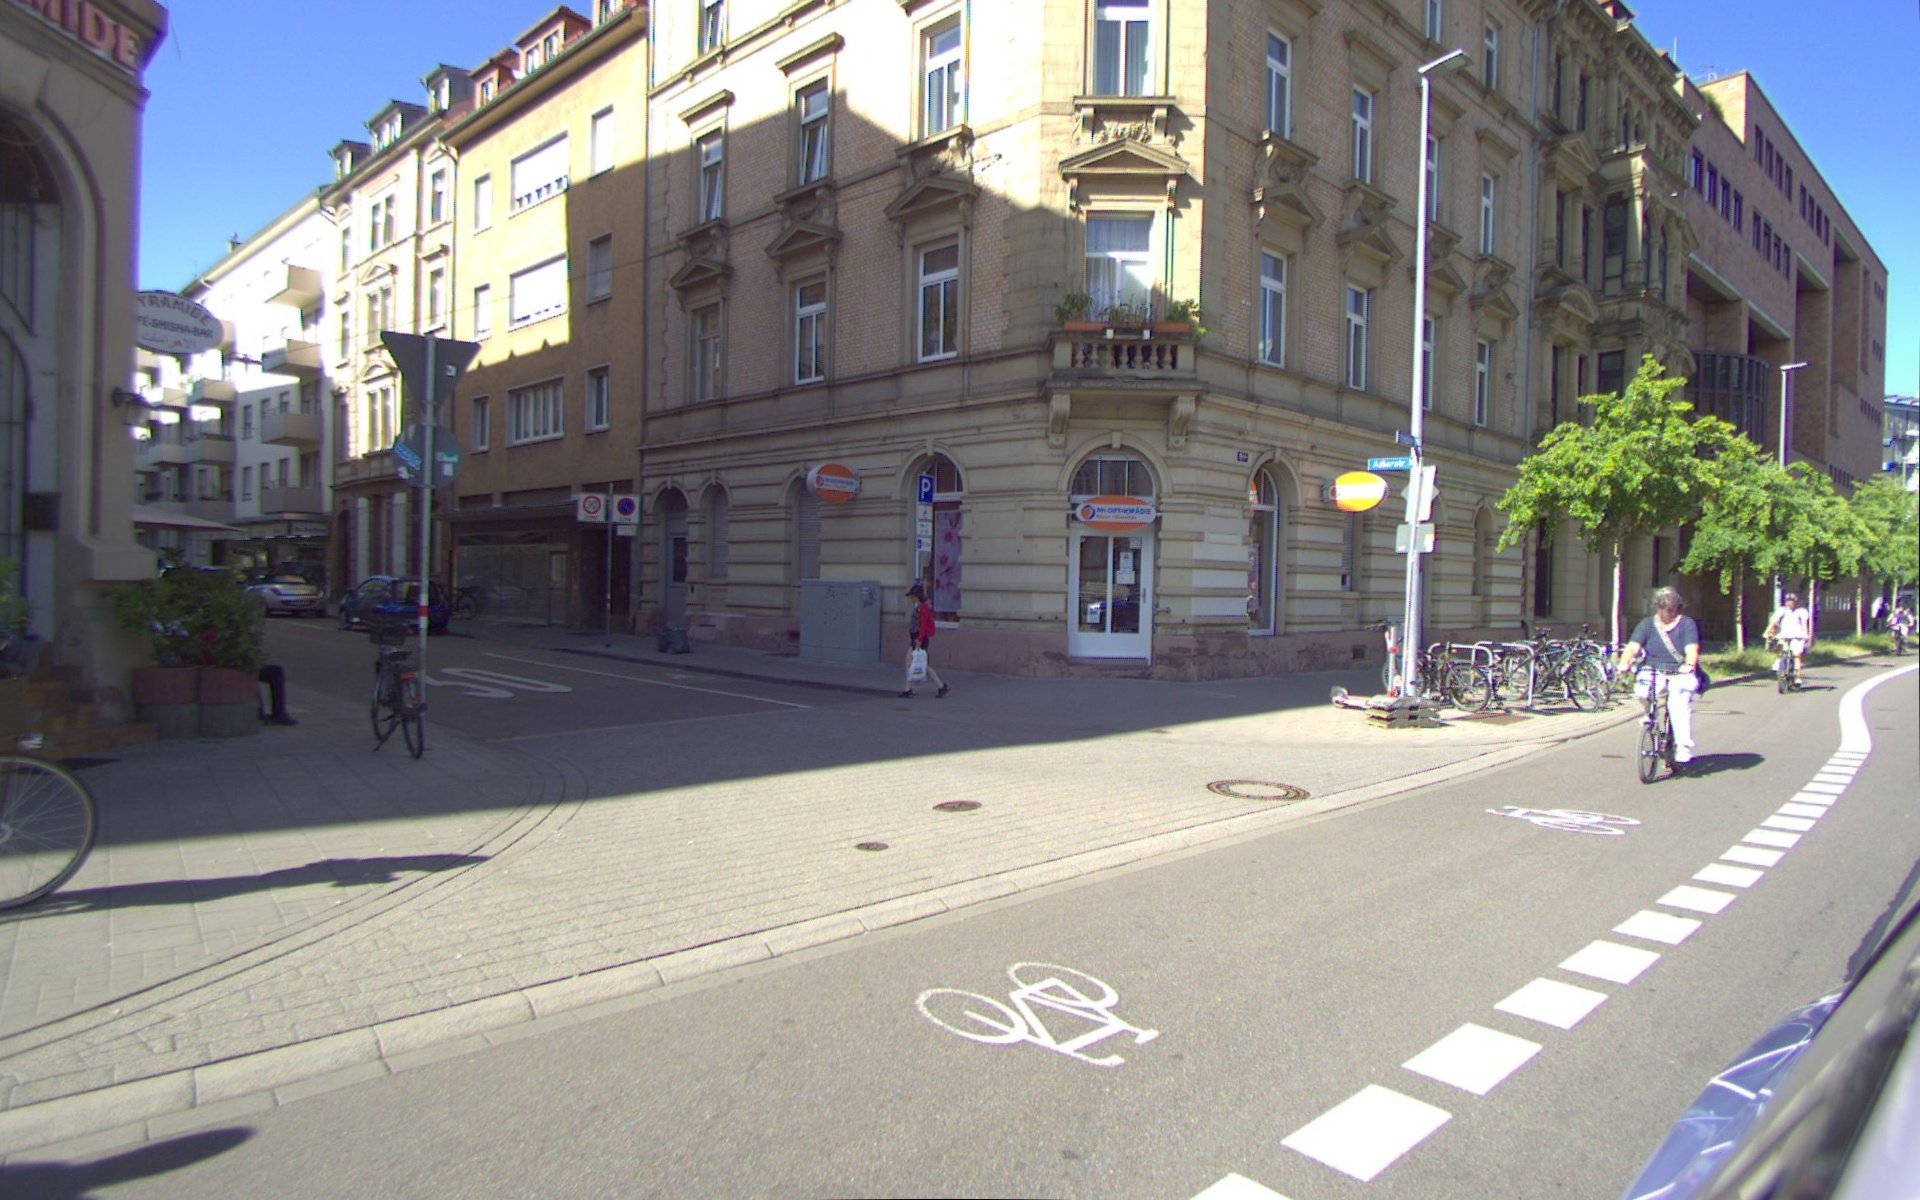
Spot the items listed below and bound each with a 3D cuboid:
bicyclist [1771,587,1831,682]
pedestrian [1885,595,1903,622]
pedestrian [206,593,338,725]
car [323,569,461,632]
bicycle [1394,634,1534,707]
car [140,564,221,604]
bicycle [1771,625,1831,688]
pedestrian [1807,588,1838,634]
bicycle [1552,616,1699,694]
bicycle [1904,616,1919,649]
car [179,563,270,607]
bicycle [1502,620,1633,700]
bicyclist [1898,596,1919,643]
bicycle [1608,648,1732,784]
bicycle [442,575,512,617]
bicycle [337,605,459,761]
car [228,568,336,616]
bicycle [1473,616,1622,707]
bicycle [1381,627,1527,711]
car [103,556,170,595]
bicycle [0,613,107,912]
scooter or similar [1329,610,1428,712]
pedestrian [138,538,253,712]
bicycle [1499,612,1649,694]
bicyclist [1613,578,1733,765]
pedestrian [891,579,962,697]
[{"bbox_3d":[15.857,0.633,19.074,0.893,1.751,0.684,1,-1,-39],"label":"bicyclist"},{"bbox_3d":[53.158,0.480,57.606,0.723,1.505,0.633,0,1,-41],"label":"pedestrian"},{"bbox_3d":[-6.826,0.548,10.047,0.849,1.229,0.920,0,0,43],"label":"pedestrian"},{"bbox_3d":[-14.623,-0.003,25.976,3.983,1.438,1.775,2,-1,40],"label":"car"},{"bbox_3d":[7.056,0.963,14.245,0.595,0.831,1.677,1,2,-33],"label":"bicycle"},{"bbox_3d":[-30.105,-0.646,39.060,3.757,1.450,1.776,2,1,40],"label":"car"},{"bbox_3d":[15.872,1.048,19.091,1.480,1.110,0.578,0,-1,-39],"label":"bicycle"},{"bbox_3d":[36.352,0.445,42.648,1.087,1.906,0.789,0,1,-41],"label":"pedestrian"},{"bbox_3d":[11.515,0.914,17.558,1.993,1.106,0.835,5,3,40],"label":"bicycle"},{"bbox_3d":[33.327,1.121,35.126,1.480,1.110,0.578,0,-1,-38],"label":"bicycle"},{"bbox_3d":[-26.030,-0.545,35.771,3.757,1.450,1.776,2,1,40],"label":"car"},{"bbox_3d":[9.533,0.916,15.928,0.595,1.058,1.605,1,3,-37],"label":"bicycle"},{"bbox_3d":[33.206,0.678,35.159,0.748,1.637,0.755,1,-1,-38],"label":"bicyclist"},{"bbox_3d":[6.292,0.976,8.940,1.481,1.040,0.558,0,-1,-41],"label":"bicycle"},{"bbox_3d":[-14.229,-0.127,29.833,1.988,1.193,0.629,1,1,19],"label":"bicycle"},{"bbox_3d":[-5.019,0.683,8.981,0.641,1.186,1.823,5,-1,-36],"label":"bicycle"},{"bbox_3d":[-21.314,-0.265,31.781,3.983,1.351,1.775,2,-1,40],"label":"car"},{"bbox_3d":[8.525,0.863,14.752,0.595,1.114,1.729,1,3,-37],"label":"bicycle"},{"bbox_3d":[6.653,0.902,13.709,0.595,0.955,1.677,1,1,-33],"label":"bicycle"},{"bbox_3d":[-37.553,-1.128,46.120,3.758,1.686,1.775,2,1,42],"label":"car"},{"bbox_3d":[-4.667,0.686,4.078,1.867,1.238,0.584,0,1,-42],"label":"bicycle"},{"bbox_3d":[5.386,0.764,13.069,0.411,1.204,1.115,1,1,-33],"label":"scooter or similar"},{"bbox_3d":[-8.320,0.251,11.016,0.906,1.783,0.854,0,0,43],"label":"pedestrian"},{"bbox_3d":[10.291,0.856,17.033,0.697,1.142,2.001,1,3,-39],"label":"bicycle"},{"bbox_3d":[6.320,0.597,8.970,0.893,1.557,0.658,1,-1,-41],"label":"bicyclist"},{"bbox_3d":[-0.448,0.495,13.896,0.910,1.561,0.711,1,1,3],"label":"pedestrian"}]
